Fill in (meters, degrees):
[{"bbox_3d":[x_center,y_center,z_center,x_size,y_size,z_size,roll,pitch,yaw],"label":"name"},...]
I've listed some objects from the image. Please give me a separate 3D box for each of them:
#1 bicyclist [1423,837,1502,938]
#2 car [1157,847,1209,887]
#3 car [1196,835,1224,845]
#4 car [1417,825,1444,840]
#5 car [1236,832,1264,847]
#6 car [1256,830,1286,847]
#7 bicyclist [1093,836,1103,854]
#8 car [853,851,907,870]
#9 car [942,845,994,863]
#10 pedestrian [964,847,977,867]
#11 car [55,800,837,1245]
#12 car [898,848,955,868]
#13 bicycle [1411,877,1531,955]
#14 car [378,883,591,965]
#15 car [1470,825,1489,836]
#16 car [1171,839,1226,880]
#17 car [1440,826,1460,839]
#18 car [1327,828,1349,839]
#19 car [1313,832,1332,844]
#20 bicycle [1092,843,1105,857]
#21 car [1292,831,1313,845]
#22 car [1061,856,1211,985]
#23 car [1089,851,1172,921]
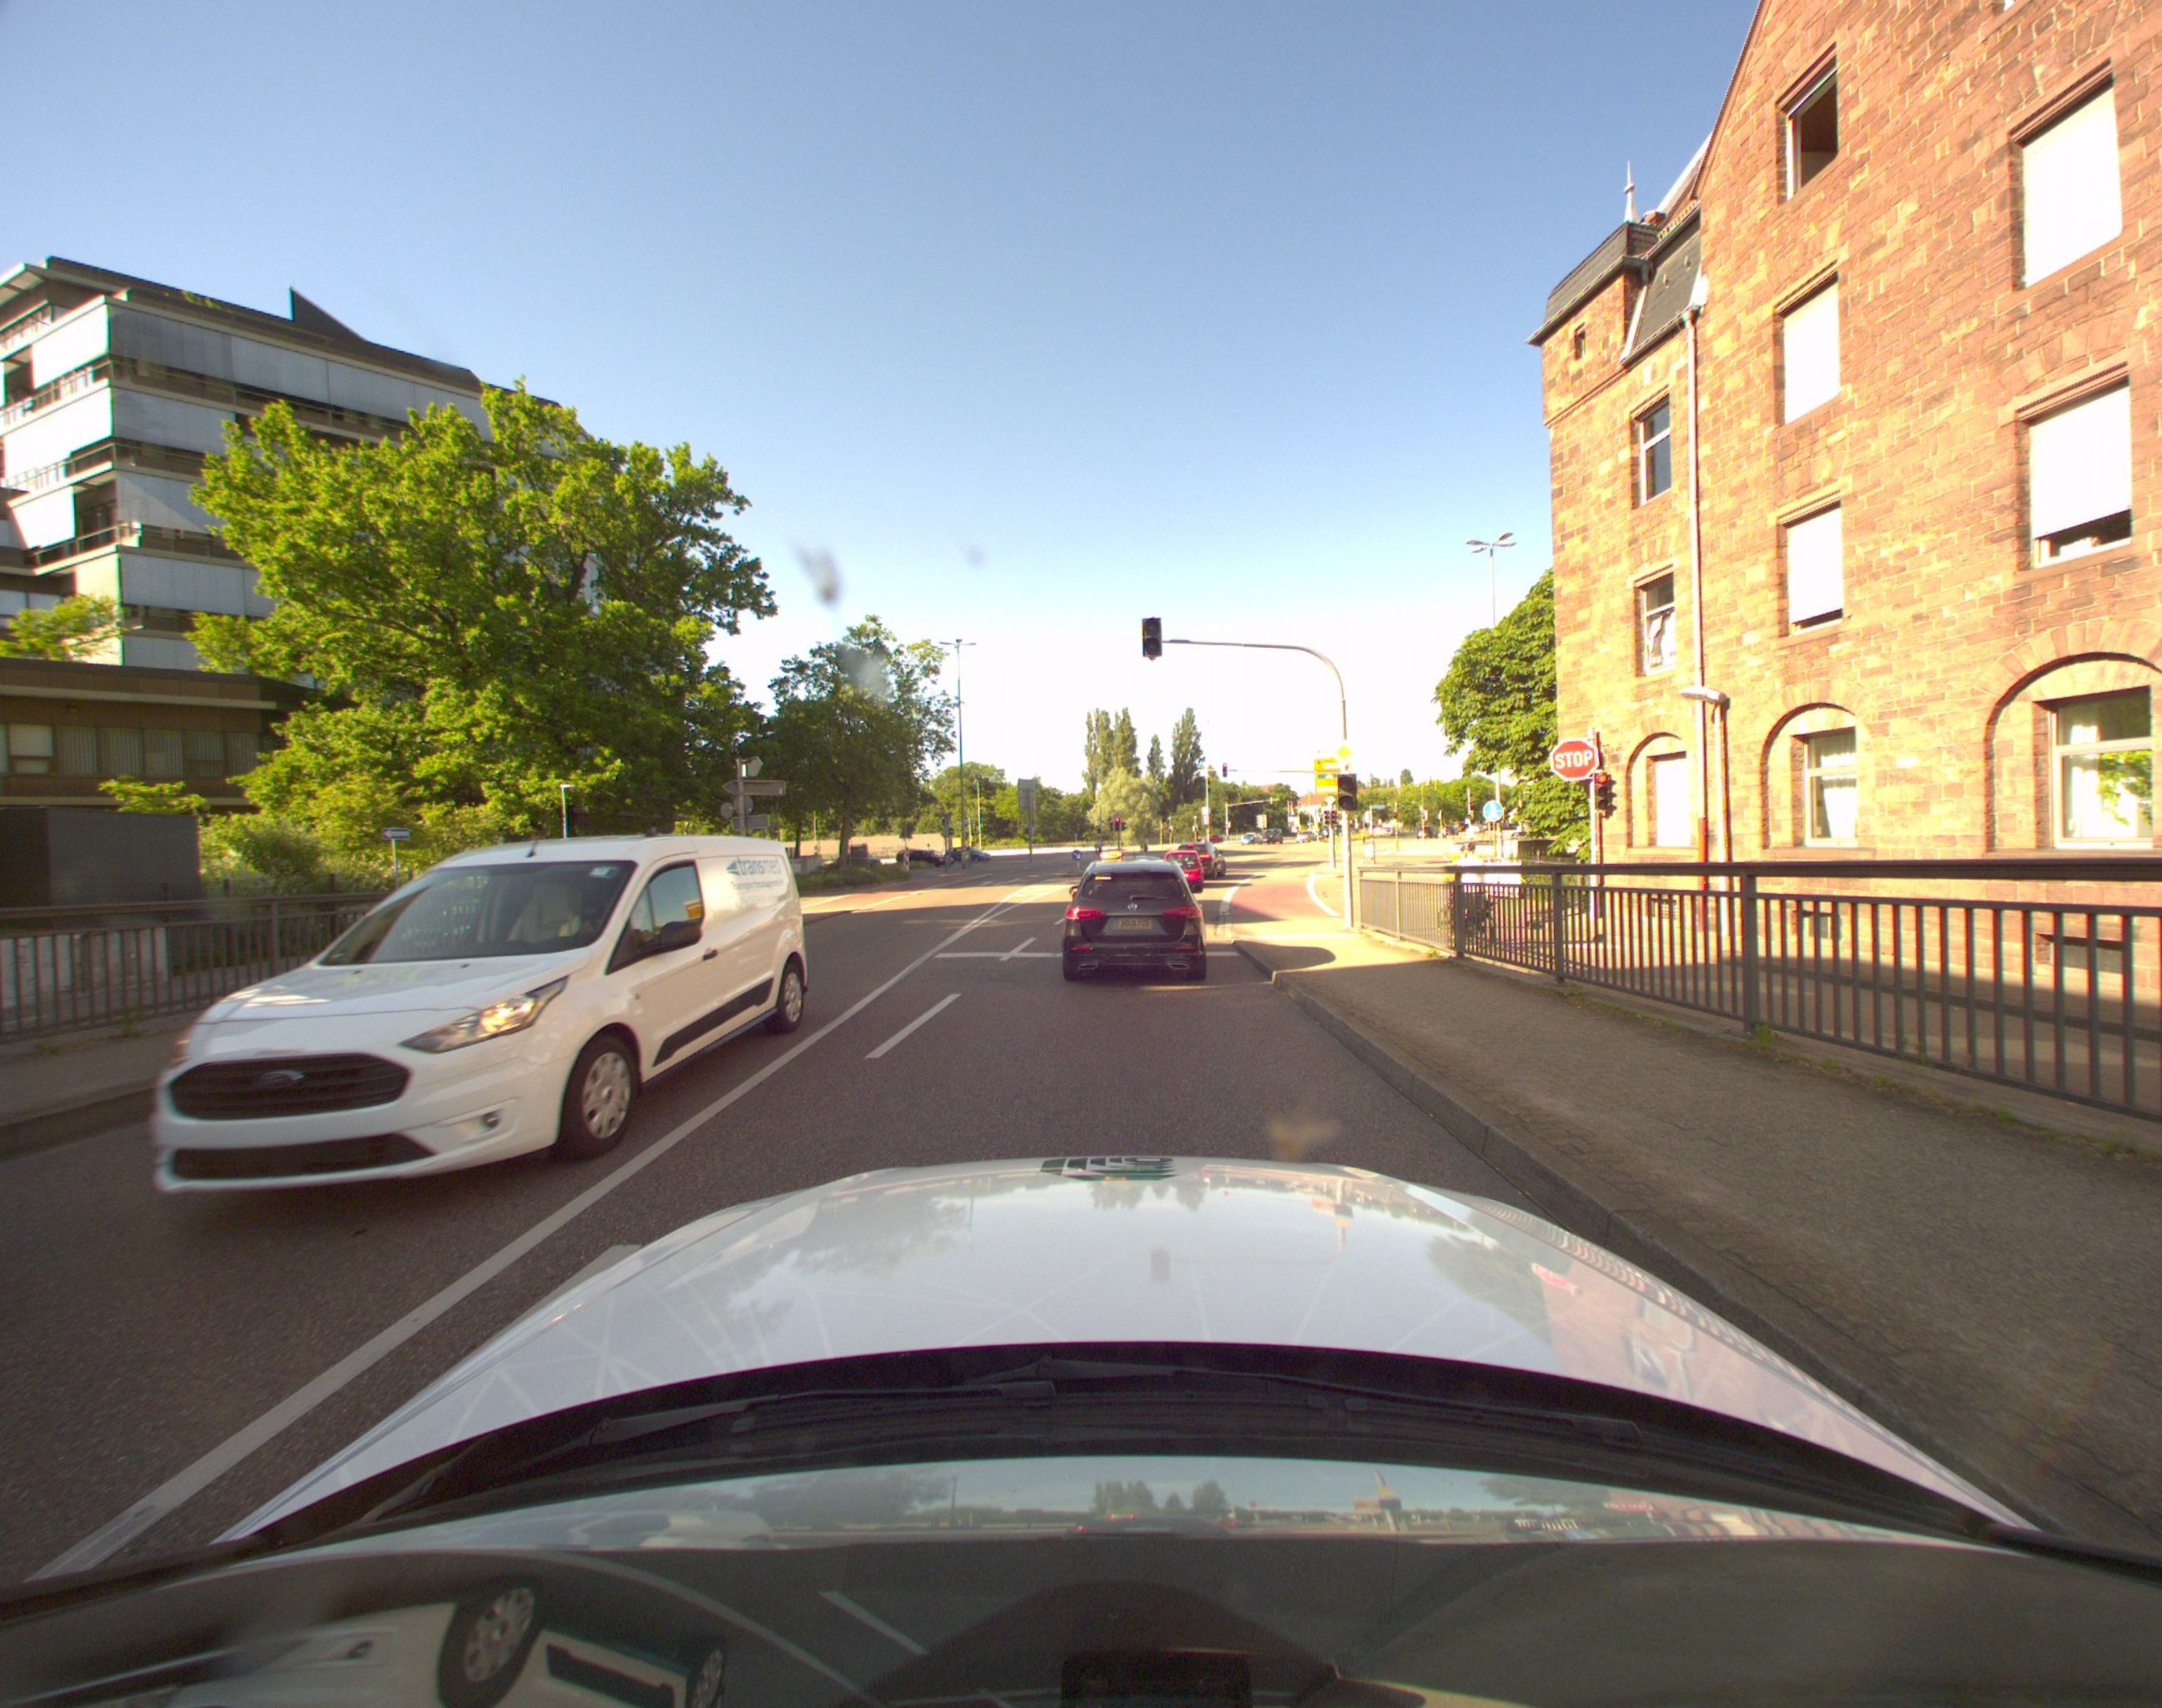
[{"bbox_3d":[6.732,0.583,14.430,0.798,1.705,1.083,-1,-1,-5],"label":"bicyclist"},{"bbox_3d":[4.246,0.488,33.453,1.808,1.479,4.013,0,1,11],"label":"car"},{"bbox_3d":[20.227,-2.187,127.654,4.009,1.548,1.983,-2,1,-27],"label":"car"},{"bbox_3d":[43.857,-2.686,102.267,1.974,1.794,4.025,-1,-1,41],"label":"car"},{"bbox_3d":[21.731,-1.873,104.607,1.974,1.864,4.883,-1,1,32],"label":"car"},{"bbox_3d":[23.453,-1.872,100.409,1.974,1.935,4.883,-1,1,32],"label":"car"},{"bbox_3d":[1.608,-0.855,77.438,0.682,1.701,1.203,-2,2,15],"label":"bicyclist"},{"bbox_3d":[-17.354,0.588,70.290,4.393,1.438,1.838,-2,1,31],"label":"car"},{"bbox_3d":[-10.537,-0.007,75.856,4.395,1.438,1.837,-2,1,27],"label":"car"},{"bbox_3d":[-8.755,0.237,64.550,0.683,1.538,1.368,-1,-4,7],"label":"pedestrian"},{"bbox_3d":[-3.440,0.674,6.017,1.805,1.801,5.117,-2,1,-2],"label":"car"},{"bbox_3d":[-12.524,0.325,66.087,4.393,1.438,1.838,-2,1,31],"label":"car"},{"bbox_3d":[6.778,1.032,14.330,0.798,1.110,2.398,-1,1,-5],"label":"bicycle"},{"bbox_3d":[-14.410,1.610,20.064,1.814,1.503,4.452,-2,1,1],"label":"car"},{"bbox_3d":[65.566,-3.808,133.860,1.974,1.640,4.026,-2,1,37],"label":"car"},{"bbox_3d":[5.656,0.212,38.875,1.854,1.790,4.435,0,2,18],"label":"car"},{"bbox_3d":[53.818,-3.138,118.699,1.974,1.793,4.026,-2,1,34],"label":"car"},{"bbox_3d":[37.661,-2.973,119.500,1.974,1.453,4.026,-1,0,34],"label":"car"},{"bbox_3d":[33.268,-2.207,112.046,1.707,1.582,4.028,-1,1,27],"label":"car"},{"bbox_3d":[1.663,-0.372,77.586,0.682,1.202,2.337,-2,2,15],"label":"bicycle"},{"bbox_3d":[28.134,-2.061,103.287,1.803,1.582,4.128,-2,1,25],"label":"car"},{"bbox_3d":[0.679,0.802,11.511,1.745,1.494,4.000,0,-1,1],"label":"car"},{"bbox_3d":[1.319,0.724,20.510,1.811,1.489,4.007,-2,1,6],"label":"car"}]
